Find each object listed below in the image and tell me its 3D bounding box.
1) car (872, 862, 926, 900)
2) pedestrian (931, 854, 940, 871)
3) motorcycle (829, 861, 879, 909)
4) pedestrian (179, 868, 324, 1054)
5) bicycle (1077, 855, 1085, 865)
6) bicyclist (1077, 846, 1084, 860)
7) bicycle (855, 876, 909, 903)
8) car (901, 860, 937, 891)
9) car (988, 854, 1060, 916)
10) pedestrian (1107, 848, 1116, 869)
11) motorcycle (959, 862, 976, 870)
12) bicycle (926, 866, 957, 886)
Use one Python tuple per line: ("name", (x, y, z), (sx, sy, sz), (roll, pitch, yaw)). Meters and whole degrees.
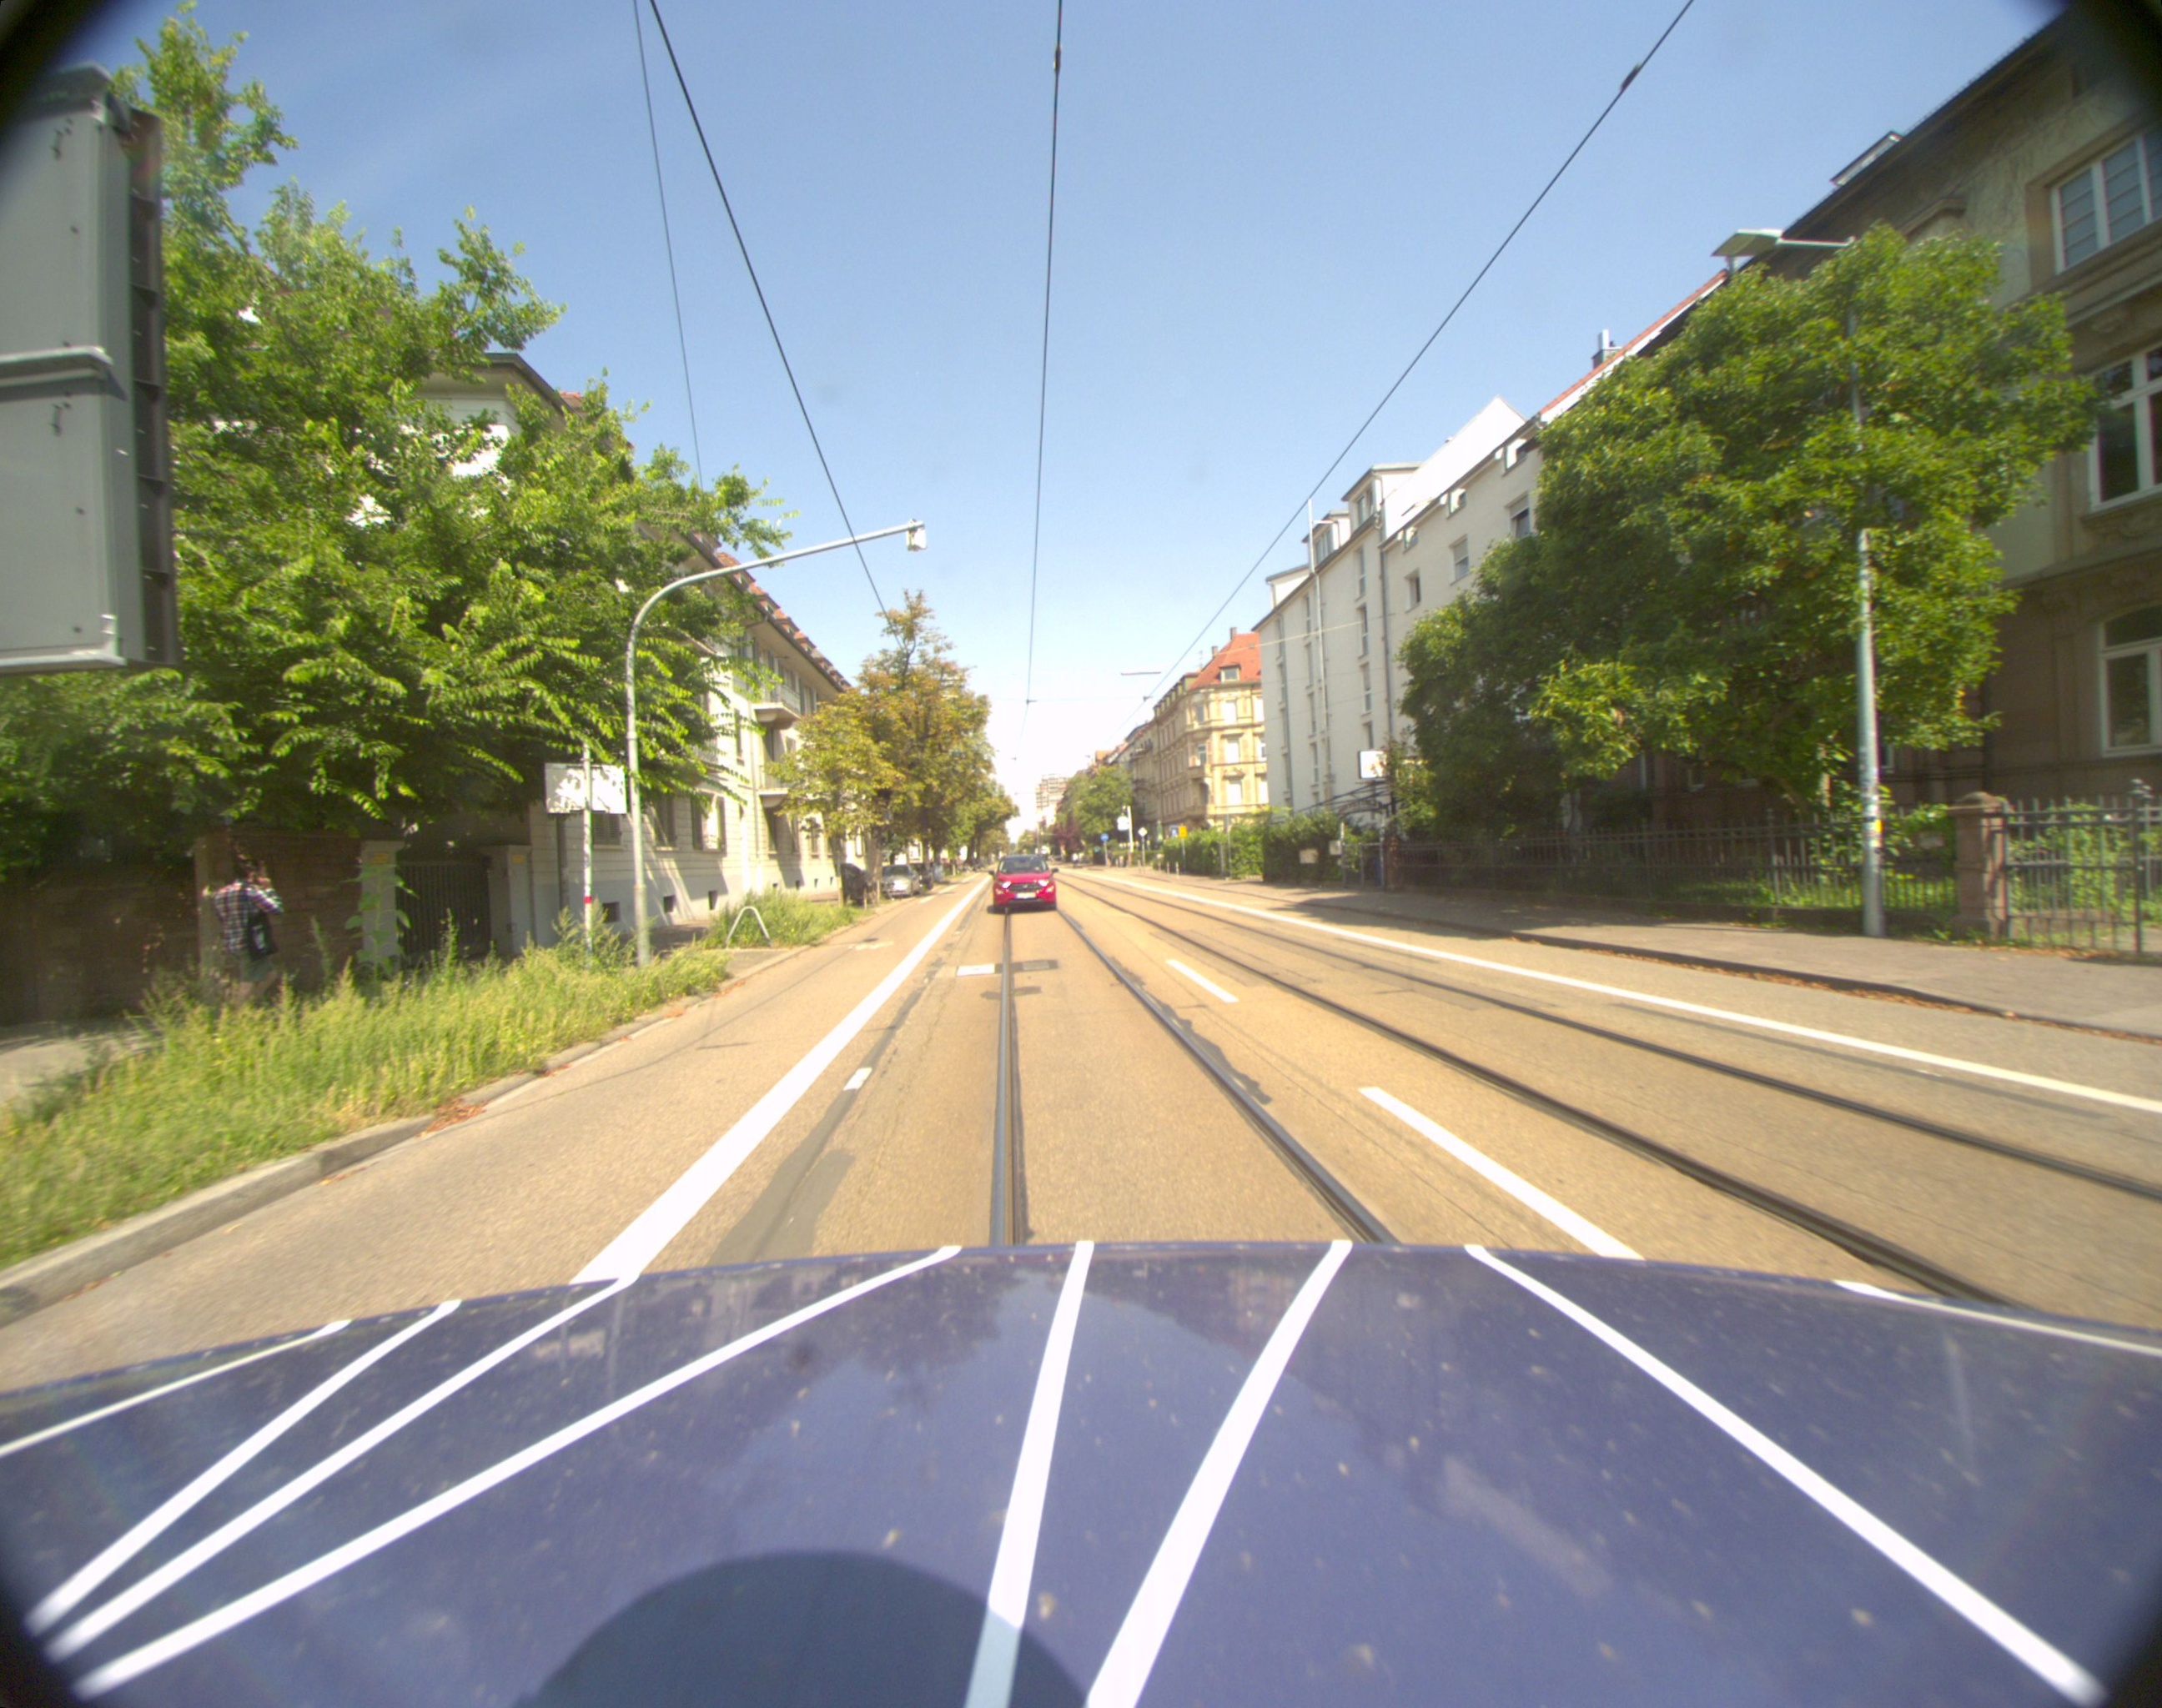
("car", (-8.059, 1.139, 33.982), (1.788, 1.442, 4.748), (-2, 0, -8))
("pedestrian", (-15.640, 0.932, 81.566), (0.749, 1.775, 0.632), (-3, 1, -5))
("motorcycle", (-7.963, 1.058, 26.790), (0.888, 1.544, 2.412), (-2, 1, 3))
("pedestrian", (-8.191, 1.025, 7.531), (0.694, 1.722, 0.579), (-3, 1, -3))
("bicycle", (-0.027, 0.621, 81.561), (0.642, 1.070, 1.914), (-2, 0, -7))
("bicyclist", (-0.067, -0.081, 81.589), (0.657, 1.420, 0.974), (-2, 1, -7))
("bicycle", (-7.942, 1.414, 30.412), (1.928, 0.947, 0.720), (-3, 1, -2))
("car", (-8.842, 1.125, 41.670), (1.668, 1.498, 4.431), (-2, 0, -9))
("car", (-1.635, 0.818, 22.002), (1.816, 1.542, 4.019), (-3, 0, -4))
("pedestrian", (2.973, 0.461, 73.768), (0.657, 2.002, 0.974), (-2, 1, -7))
("motorcycle", (-13.642, 1.432, 91.295), (2.001, 1.009, 0.796), (0, 0, -6))
("bicycle", (-8.465, 1.333, 46.223), (1.760, 1.116, 0.655), (-3, 1, -6))
